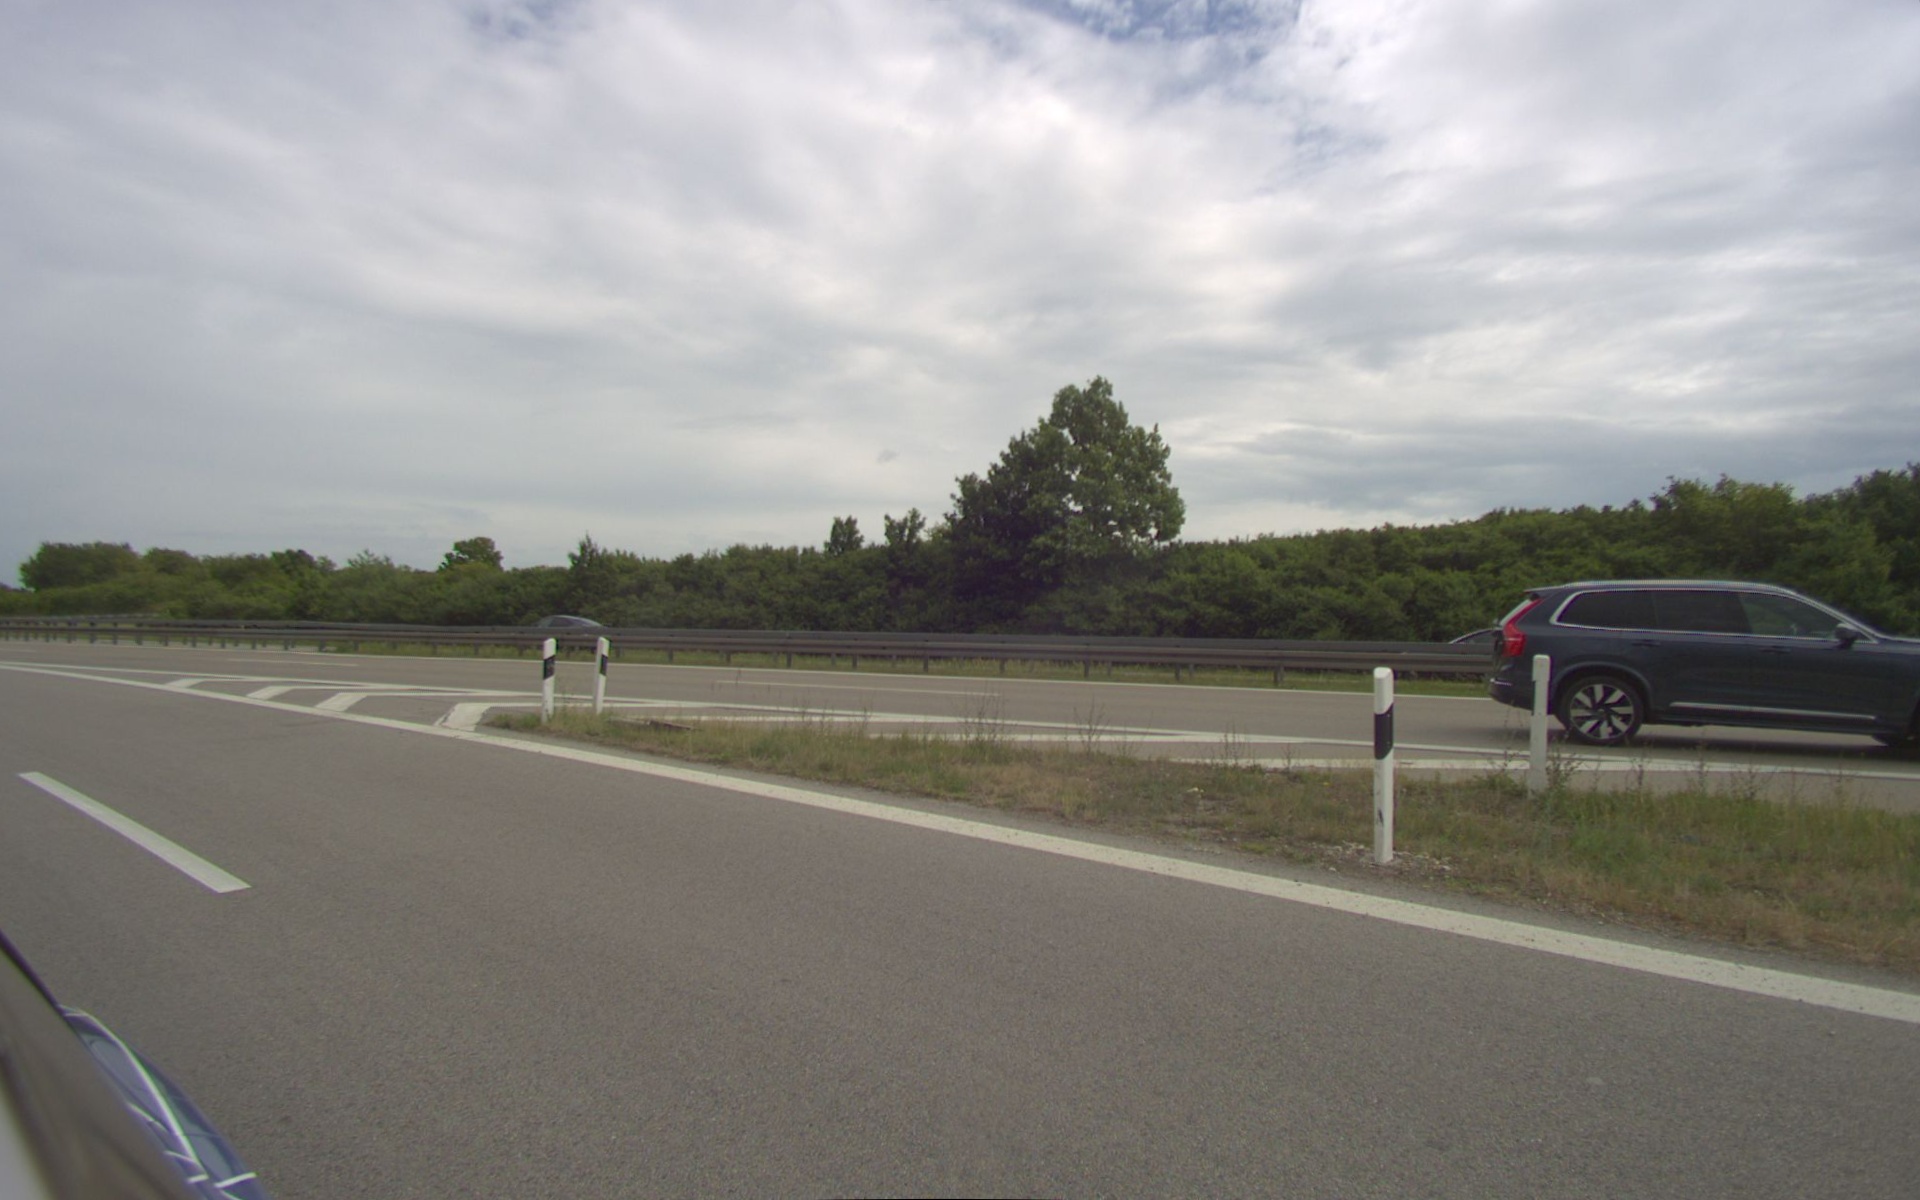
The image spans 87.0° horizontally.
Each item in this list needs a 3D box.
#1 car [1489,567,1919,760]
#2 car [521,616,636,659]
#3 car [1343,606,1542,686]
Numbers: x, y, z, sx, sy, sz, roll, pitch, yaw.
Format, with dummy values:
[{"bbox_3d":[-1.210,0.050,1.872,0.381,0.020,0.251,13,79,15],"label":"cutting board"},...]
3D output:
[{"bbox_3d":[8.406,0.608,10.749,4.903,1.775,1.980,0,-1,29],"label":"car"},{"bbox_3d":[-15.797,1.537,41.899,4.543,1.674,1.981,0,-2,28],"label":"car"},{"bbox_3d":[11.051,1.001,23.366,3.979,1.697,1.982,0,-1,26],"label":"car"}]
